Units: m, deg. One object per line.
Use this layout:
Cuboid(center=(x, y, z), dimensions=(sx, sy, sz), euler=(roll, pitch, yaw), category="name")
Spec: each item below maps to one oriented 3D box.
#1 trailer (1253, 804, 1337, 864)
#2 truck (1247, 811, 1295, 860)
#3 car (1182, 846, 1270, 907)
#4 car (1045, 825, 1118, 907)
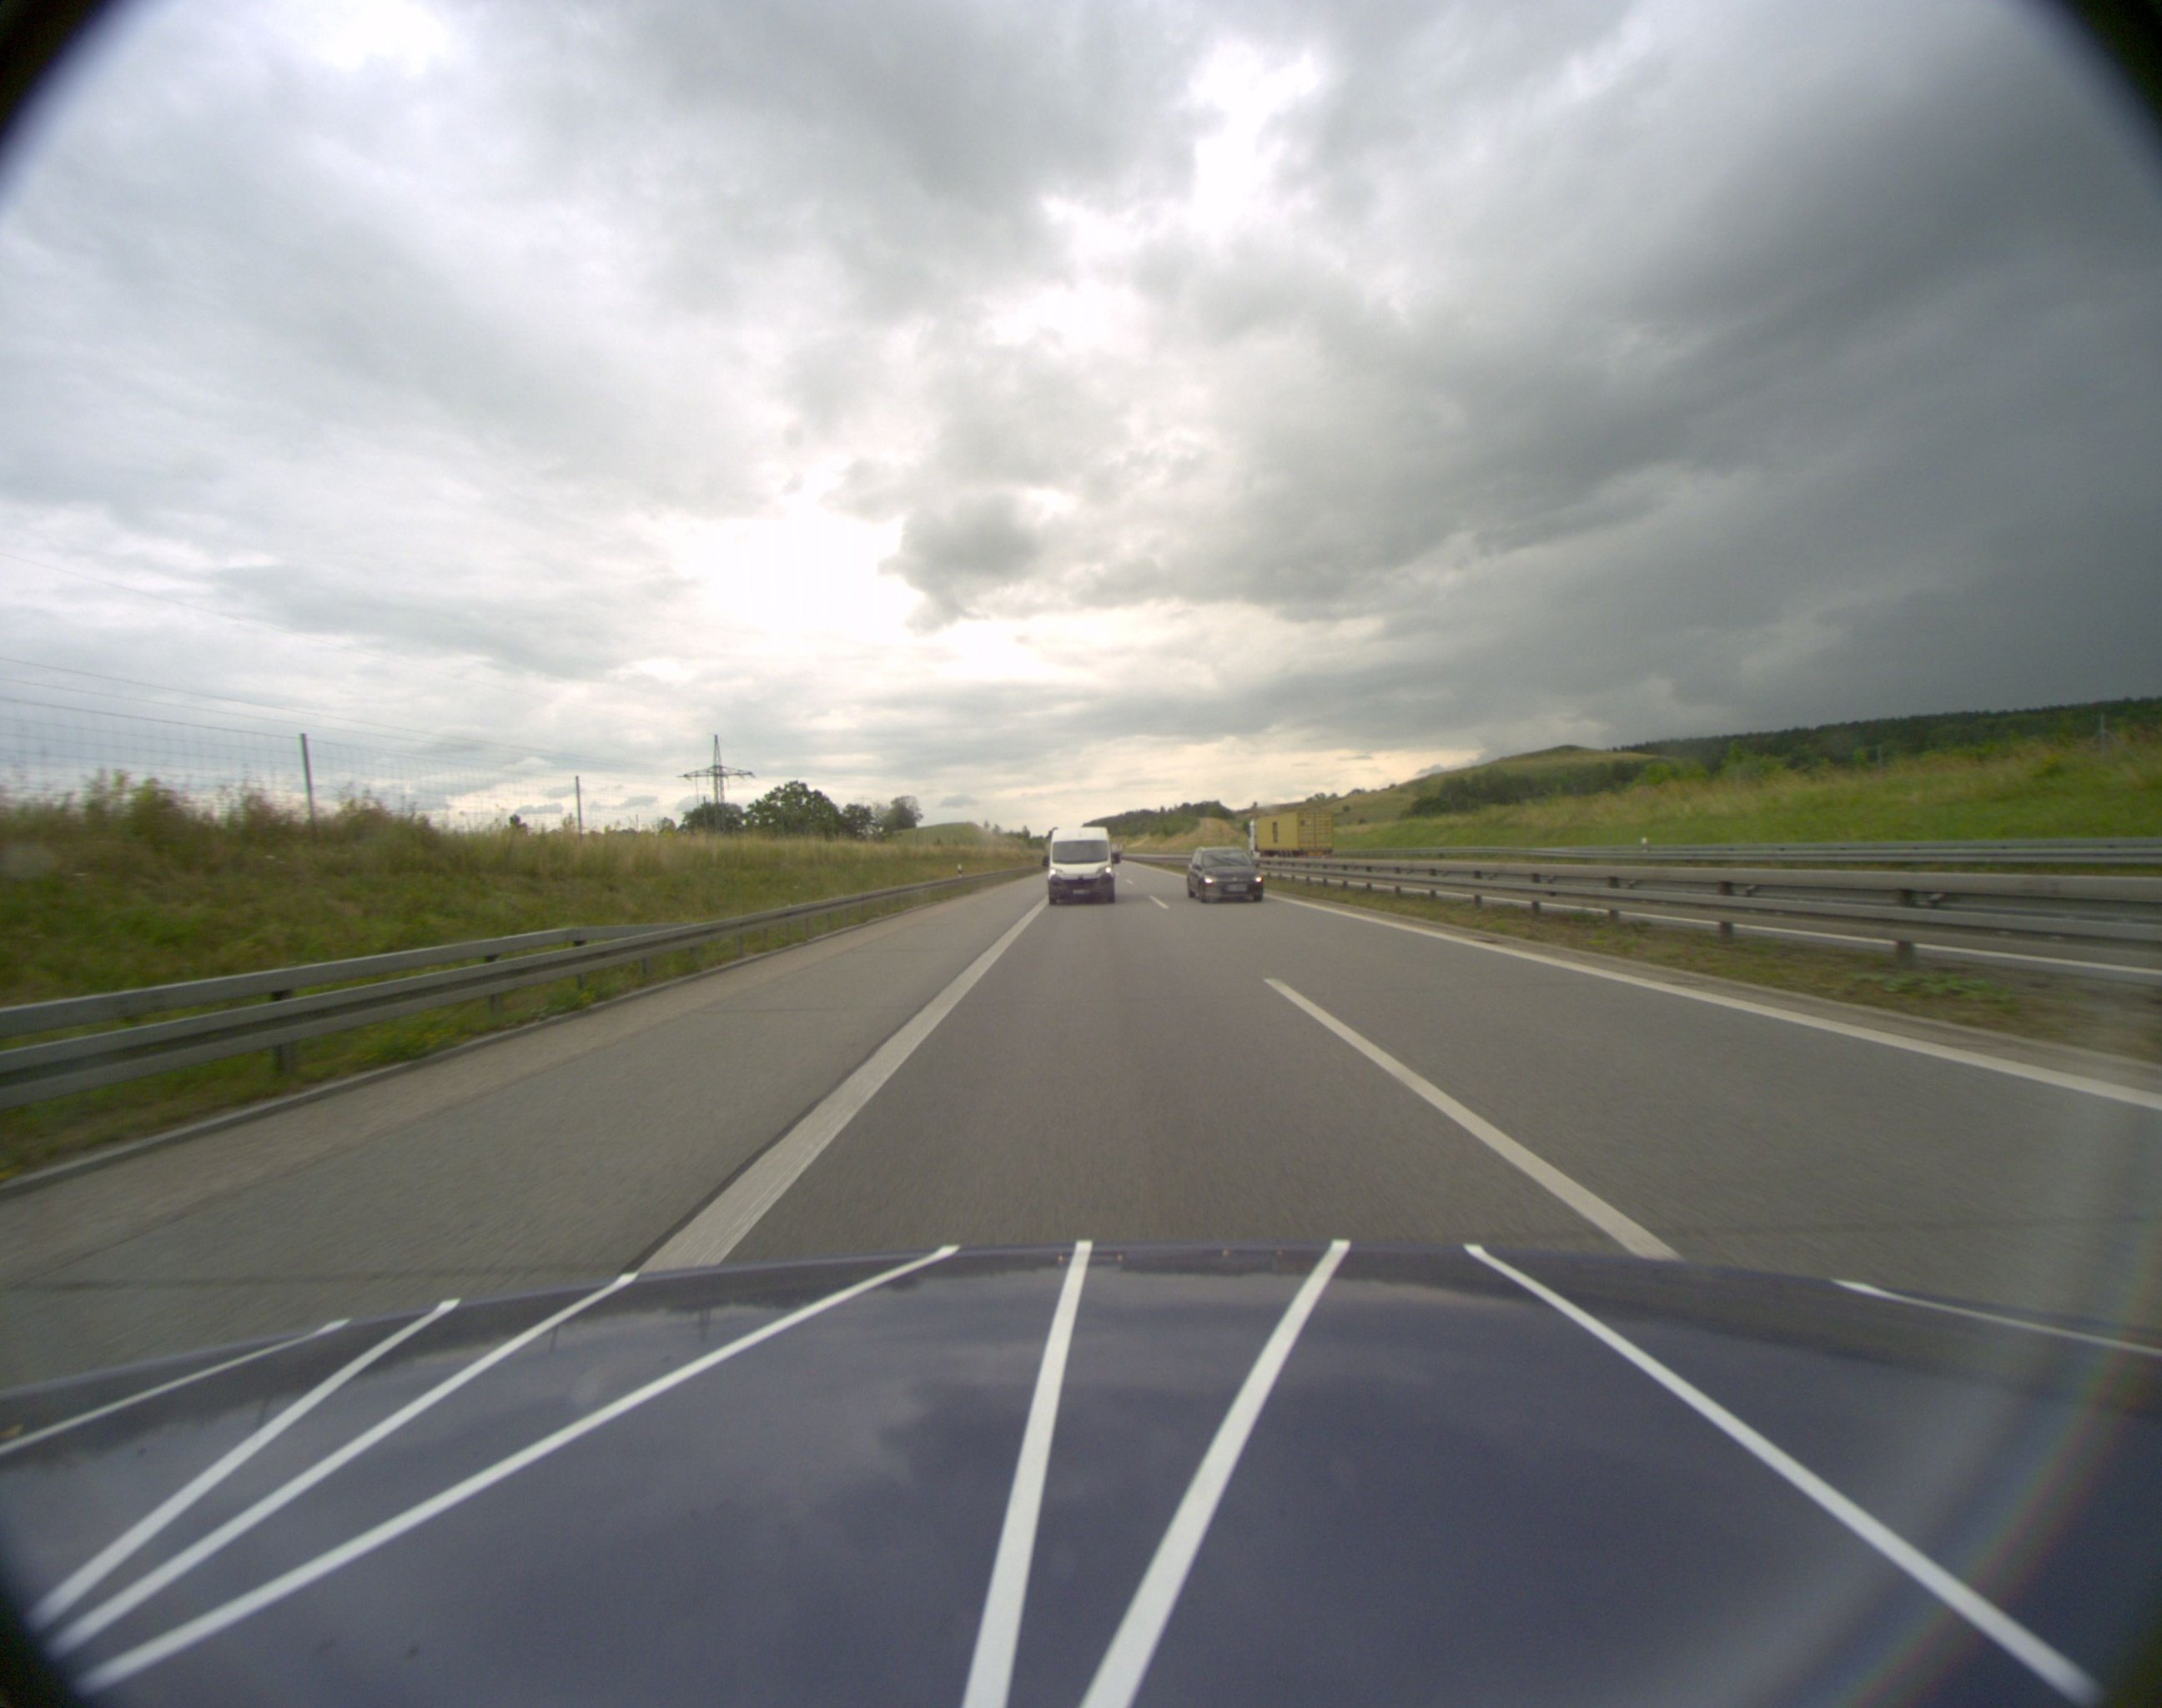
Cuboid(center=(15.935, -1.356, 57.839), dimensions=(2.596, 3.902, 13.701), euler=(-2, 0, 1), category="trailer")
Cuboid(center=(16.032, -1.519, 64.519), dimensions=(2.599, 3.903, 5.587), euler=(-2, 0, 1), category="truck")
Cuboid(center=(4.425, 0.609, 24.038), dimensions=(1.901, 1.661, 5.397), euler=(-2, 0, 2), category="car")
Cuboid(center=(0.060, 0.355, 26.093), dimensions=(2.132, 2.411, 6.111), euler=(-2, 0, 1), category="car")
